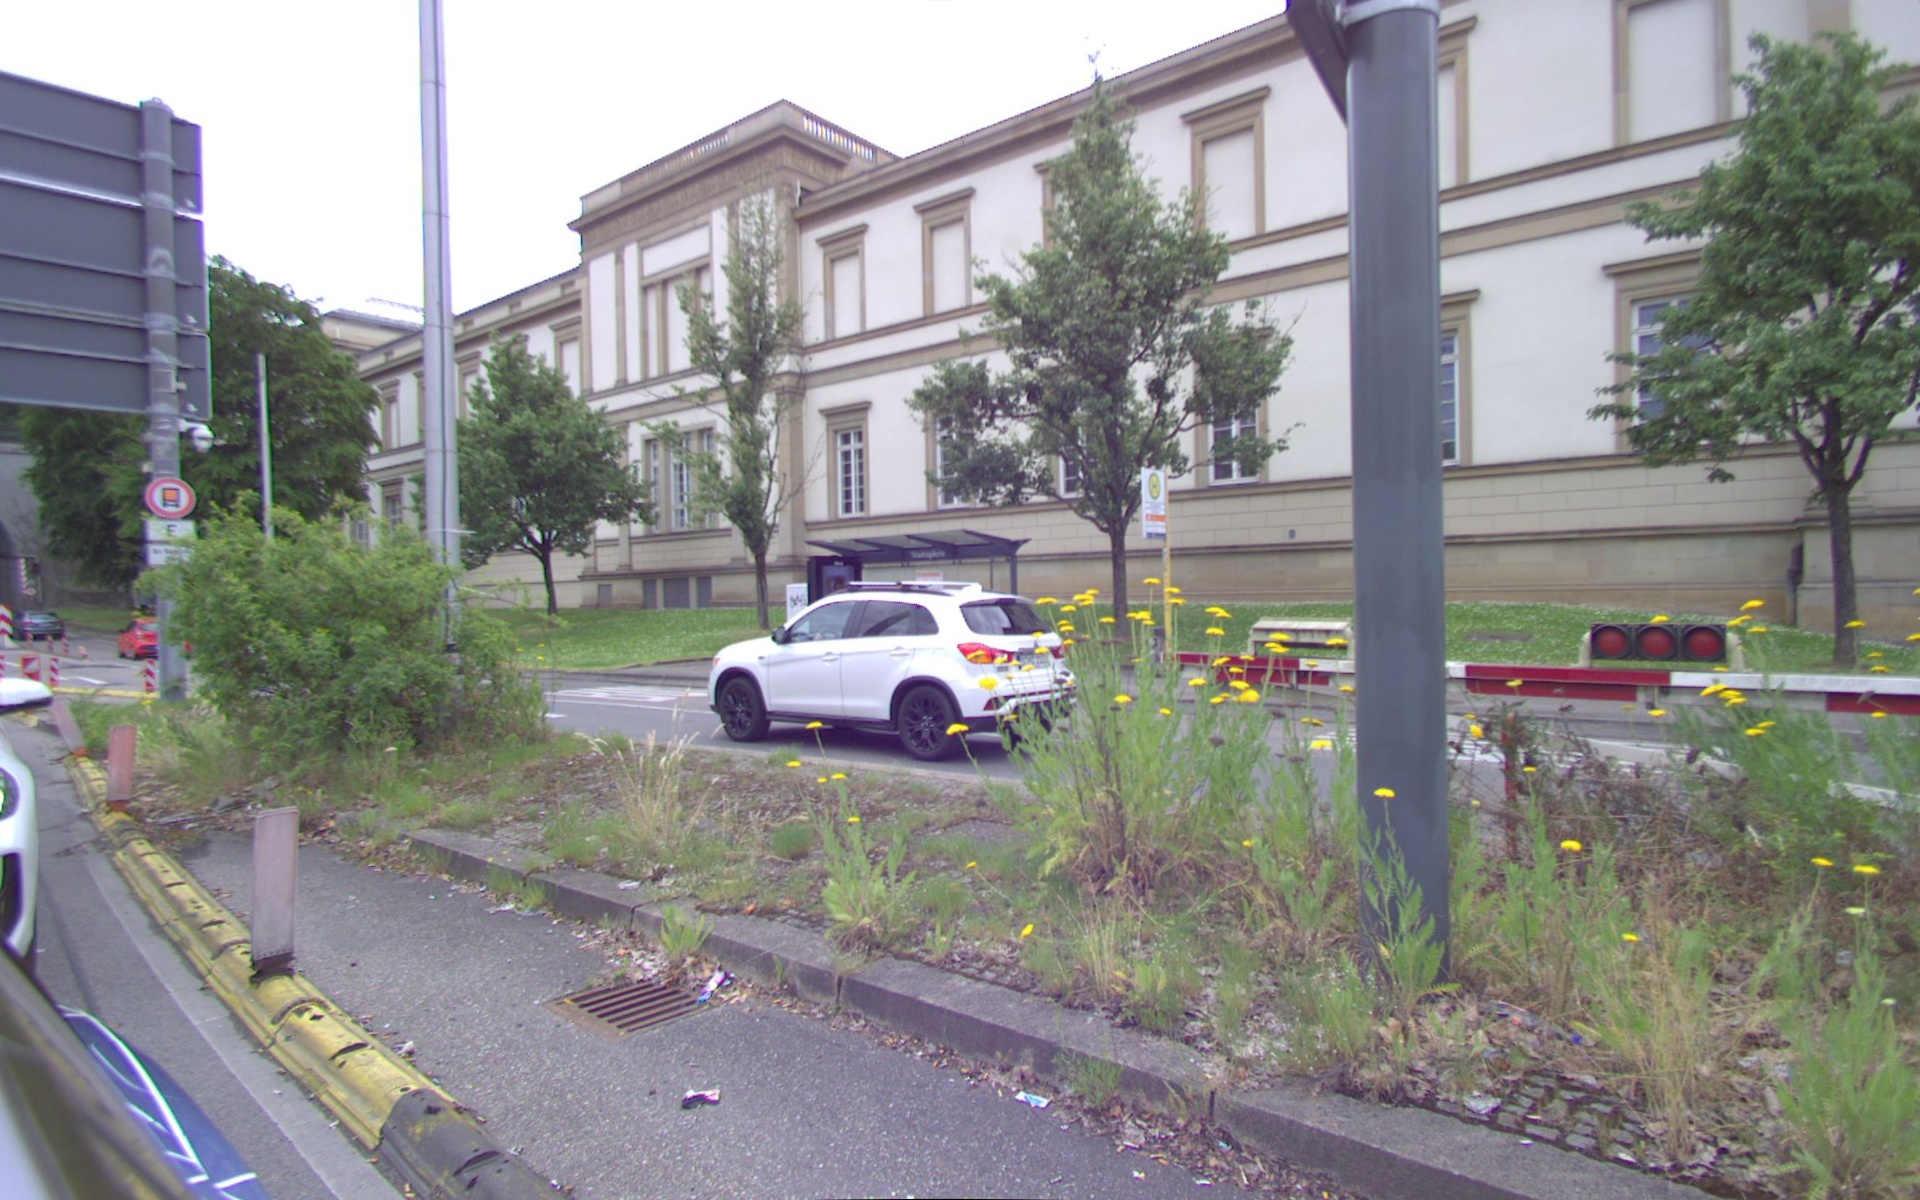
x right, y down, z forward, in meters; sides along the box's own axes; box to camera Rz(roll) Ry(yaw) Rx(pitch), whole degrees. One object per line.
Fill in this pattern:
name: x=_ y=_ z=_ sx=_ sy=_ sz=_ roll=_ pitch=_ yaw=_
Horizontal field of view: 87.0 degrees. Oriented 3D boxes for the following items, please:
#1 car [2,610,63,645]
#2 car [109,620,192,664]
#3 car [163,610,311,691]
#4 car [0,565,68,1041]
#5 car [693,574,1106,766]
car: x=-45.933 y=1.345 z=50.097 sx=3.800 sy=1.630 sz=1.756 roll=-1 pitch=0 yaw=40
car: x=-29.678 y=1.505 z=37.082 sx=3.570 sy=1.489 sz=1.626 roll=-1 pitch=-1 yaw=39
car: x=-17.032 y=1.123 z=23.771 sx=4.265 sy=1.704 sz=1.851 roll=-1 pitch=0 yaw=40
car: x=-5.212 y=0.723 z=4.086 sx=3.668 sy=1.637 sz=1.962 roll=-1 pitch=0 yaw=41
car: x=-0.745 y=0.645 z=10.644 sx=4.101 sy=1.637 sz=1.881 roll=-2 pitch=-1 yaw=38
